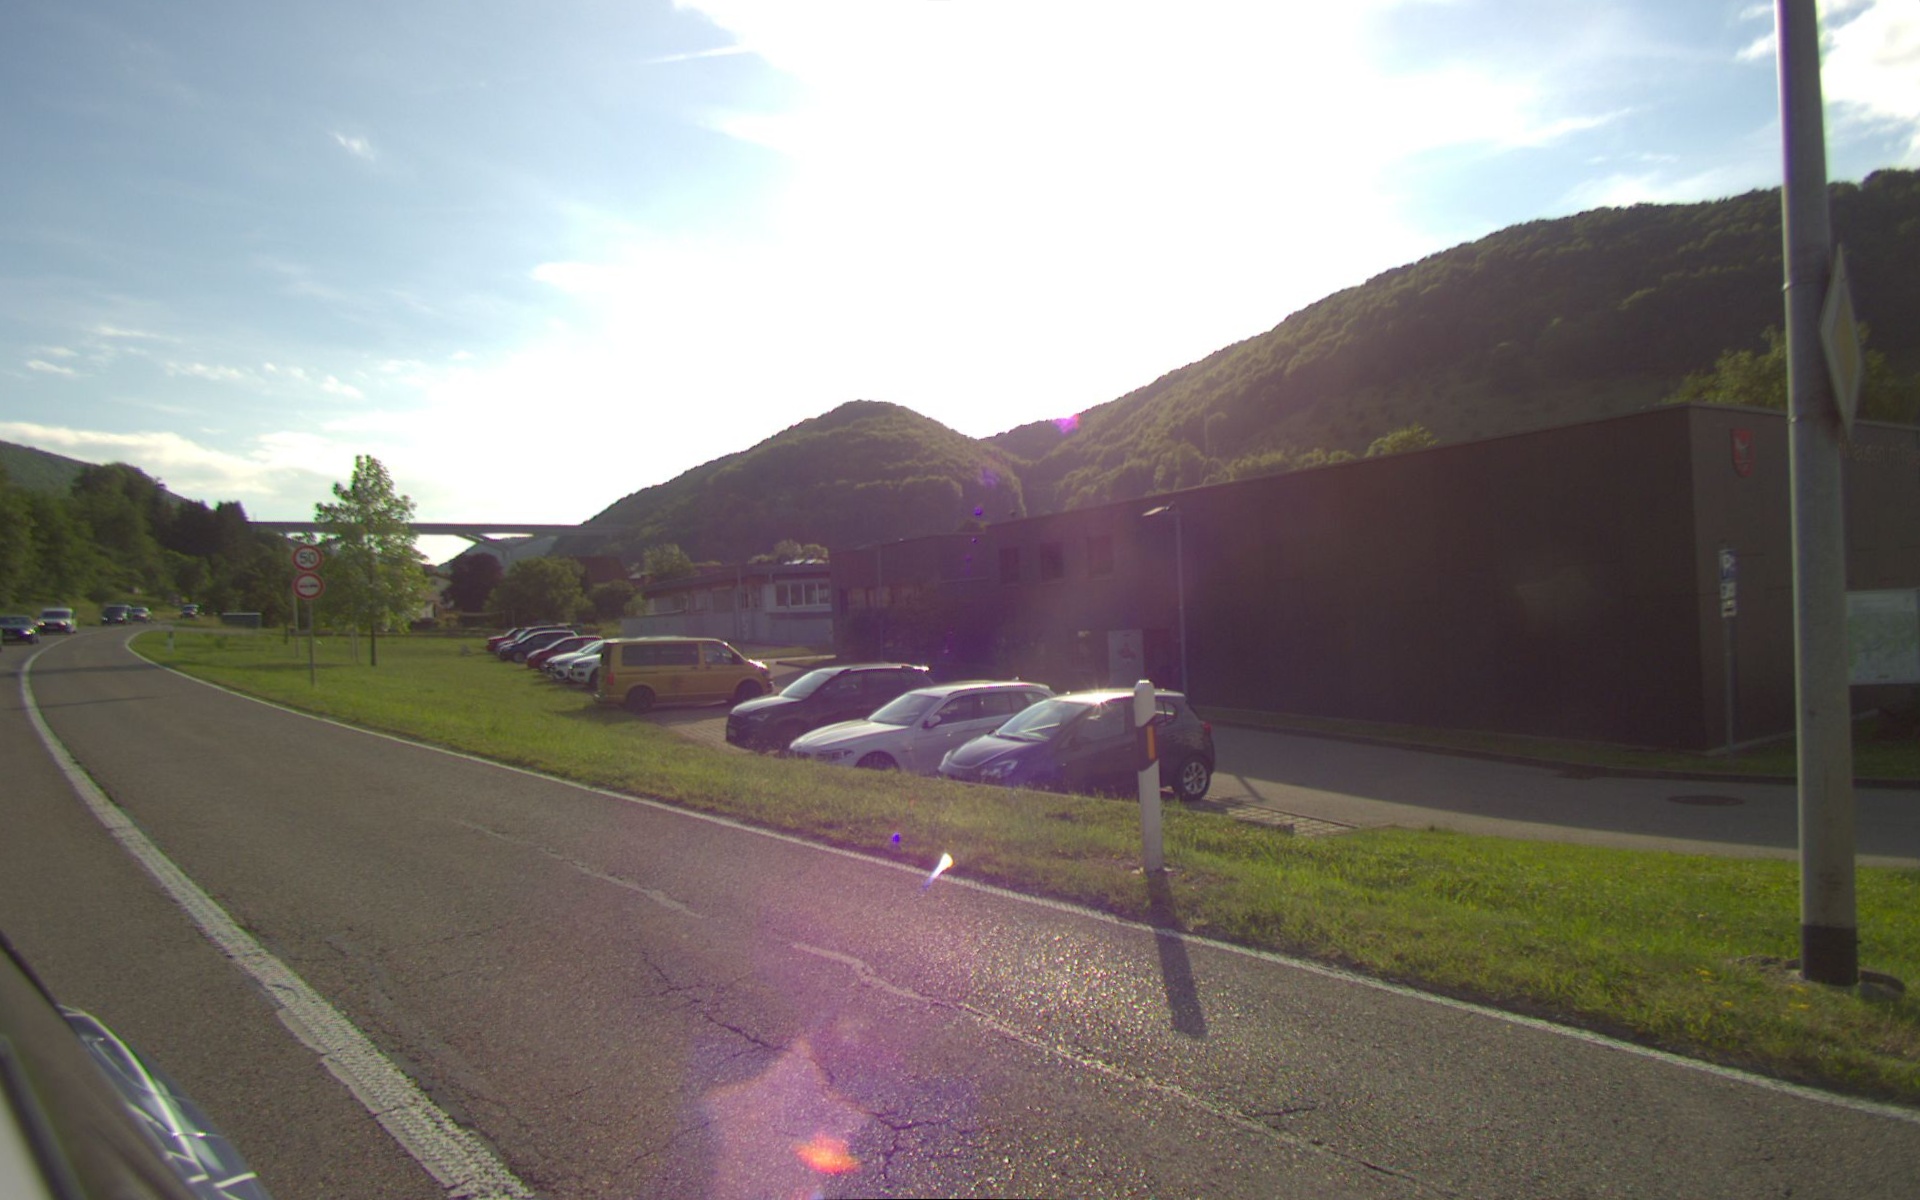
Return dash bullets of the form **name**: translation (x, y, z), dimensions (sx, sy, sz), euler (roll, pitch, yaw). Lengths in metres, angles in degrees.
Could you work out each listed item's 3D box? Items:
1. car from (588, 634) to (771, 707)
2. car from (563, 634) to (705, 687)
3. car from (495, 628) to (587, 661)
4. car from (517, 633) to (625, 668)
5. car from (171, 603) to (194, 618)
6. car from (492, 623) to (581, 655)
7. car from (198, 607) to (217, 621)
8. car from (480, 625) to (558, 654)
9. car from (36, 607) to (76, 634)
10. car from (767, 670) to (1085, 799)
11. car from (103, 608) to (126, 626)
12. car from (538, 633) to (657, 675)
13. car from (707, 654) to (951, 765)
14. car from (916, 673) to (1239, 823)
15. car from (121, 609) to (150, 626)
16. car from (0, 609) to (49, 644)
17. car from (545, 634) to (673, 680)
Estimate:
- **car**: translation (-7.806, 1.887, 28.239), dimensions (4.582, 1.827, 2.006), euler (0, -1, -28)
- **car**: translation (-11.500, 2.070, 35.723), dimensions (4.476, 1.714, 2.006), euler (0, -1, -28)
- **car**: translation (-22.672, 2.379, 54.776), dimensions (4.370, 1.595, 2.006), euler (-1, -1, -29)
- **car**: translation (-17.648, 2.271, 45.954), dimensions (4.370, 1.463, 2.006), euler (0, -1, -28)
- **car**: translation (-103.402, 1.443, 134.626), dimensions (1.880, 1.918, 4.012), euler (0, 0, -30)
- **car**: translation (-24.756, 2.232, 59.129), dimensions (4.595, 1.776, 2.006), euler (0, -1, -29)
- **car**: translation (-108.838, 2.008, 146.472), dimensions (1.880, 1.918, 4.012), euler (0, 0, -32)
- **car**: translation (-27.698, 2.442, 63.580), dimensions (4.370, 1.733, 2.006), euler (0, -1, -29)
- **car**: translation (-62.319, 1.407, 69.840), dimensions (1.771, 1.749, 4.292), euler (0, -1, -38)
- **car**: translation (-0.461, 1.948, 15.623), dimensions (4.576, 1.508, 1.918), euler (1, -1, -32)
- **car**: translation (-80.317, 1.612, 96.157), dimensions (1.653, 1.659, 3.351), euler (0, -1, -40)
- **car**: translation (-14.927, 2.179, 41.697), dimensions (4.370, 1.595, 2.006), euler (0, -1, -29)
- **car**: translation (-2.485, 2.008, 19.547), dimensions (4.225, 1.650, 1.918), euler (-2, 0, -33)
- **car**: translation (1.585, 1.846, 13.495), dimensions (3.931, 1.546, 1.839), euler (0, -1, -29)
- **car**: translation (-88.173, 1.852, 108.256), dimensions (1.967, 1.730, 4.010), euler (0, -1, -34)
- **car**: translation (-46.992, 1.342, 50.803), dimensions (1.885, 1.698, 4.005), euler (0, -1, -42)
- **car**: translation (-13.414, 2.147, 38.670), dimensions (4.370, 1.599, 2.006), euler (0, -1, -28)
